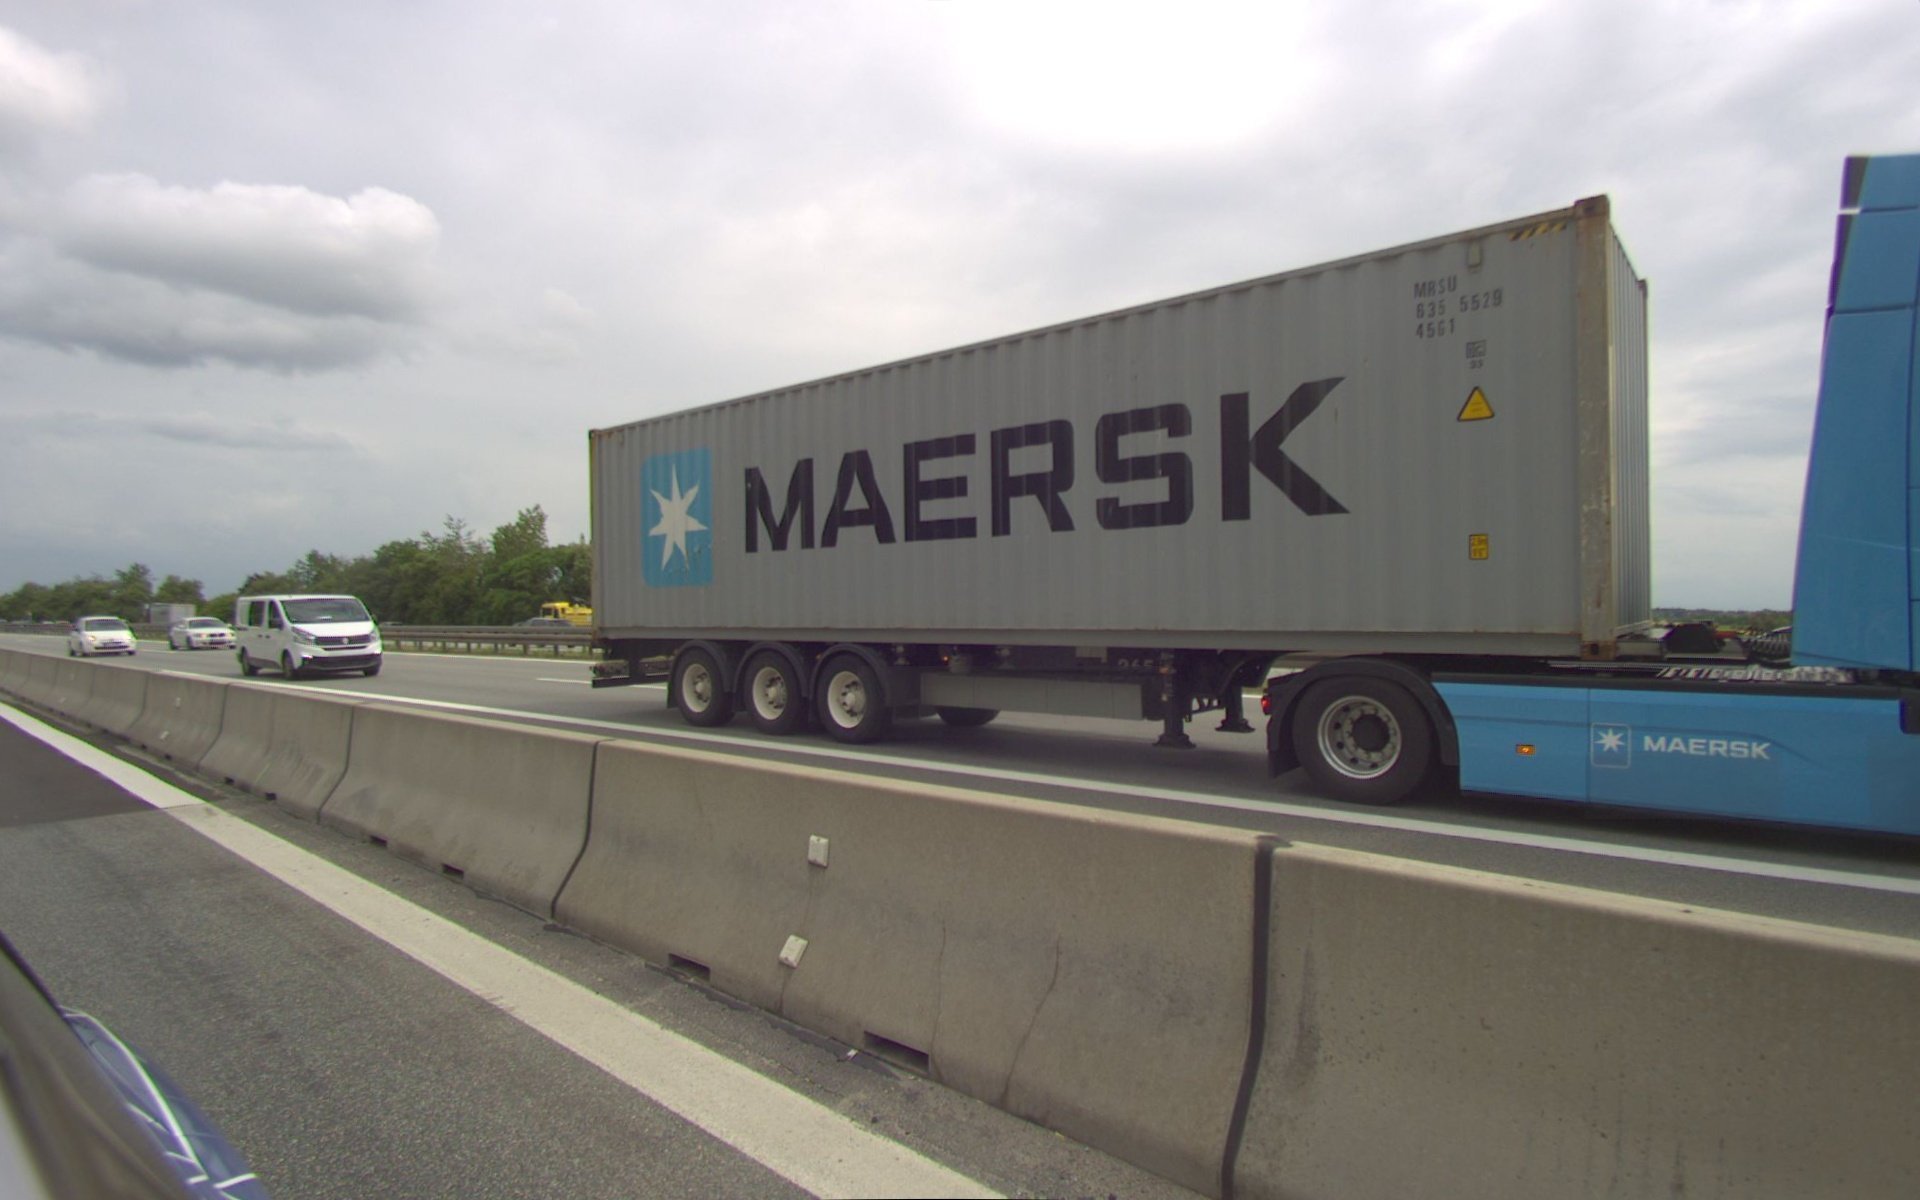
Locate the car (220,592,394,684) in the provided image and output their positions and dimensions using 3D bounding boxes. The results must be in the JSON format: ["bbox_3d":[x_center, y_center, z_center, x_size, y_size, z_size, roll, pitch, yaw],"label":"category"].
[{"bbox_3d":[-15.698,0.851,24.218,5.127,1.952,1.980,-1,0,39],"label":"car"}]

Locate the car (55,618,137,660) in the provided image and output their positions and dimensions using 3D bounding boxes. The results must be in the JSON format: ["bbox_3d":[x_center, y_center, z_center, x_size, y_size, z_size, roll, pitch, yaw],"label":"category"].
[{"bbox_3d":[-33.191,1.462,38.867,3.769,1.496,1.665,-1,0,38],"label":"car"}]

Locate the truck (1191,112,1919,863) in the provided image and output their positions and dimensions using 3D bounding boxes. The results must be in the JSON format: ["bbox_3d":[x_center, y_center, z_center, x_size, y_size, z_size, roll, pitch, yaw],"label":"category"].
[{"bbox_3d":[5.401,-0.588,7.113,6.604,3.941,3.214,-1,0,40],"label":"truck"}]

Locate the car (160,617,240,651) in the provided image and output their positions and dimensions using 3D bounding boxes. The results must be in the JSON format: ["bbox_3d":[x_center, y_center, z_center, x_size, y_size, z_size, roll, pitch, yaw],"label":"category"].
[{"bbox_3d":[-33.013,1.451,43.929,4.200,1.379,1.735,-1,-1,38],"label":"car"}]

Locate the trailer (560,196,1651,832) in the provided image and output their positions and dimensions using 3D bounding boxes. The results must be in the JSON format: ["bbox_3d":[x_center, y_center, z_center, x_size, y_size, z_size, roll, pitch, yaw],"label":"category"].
[{"bbox_3d":[0.201,-0.489,11.479,12.368,3.954,3.204,-1,0,40],"label":"trailer"}]

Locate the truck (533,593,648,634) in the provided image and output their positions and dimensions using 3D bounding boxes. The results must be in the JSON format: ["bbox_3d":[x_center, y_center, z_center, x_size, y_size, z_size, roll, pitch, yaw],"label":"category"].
[{"bbox_3d":[-26.885,1.018,73.517,8.743,2.795,2.887,-1,-1,29],"label":"truck"}]

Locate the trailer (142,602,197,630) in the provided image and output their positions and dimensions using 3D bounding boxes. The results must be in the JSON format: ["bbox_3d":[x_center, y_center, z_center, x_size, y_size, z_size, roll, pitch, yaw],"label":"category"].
[{"bbox_3d":[-97.138,1.986,124.292,9.814,3.294,3.166,-1,-1,39],"label":"trailer"}]
